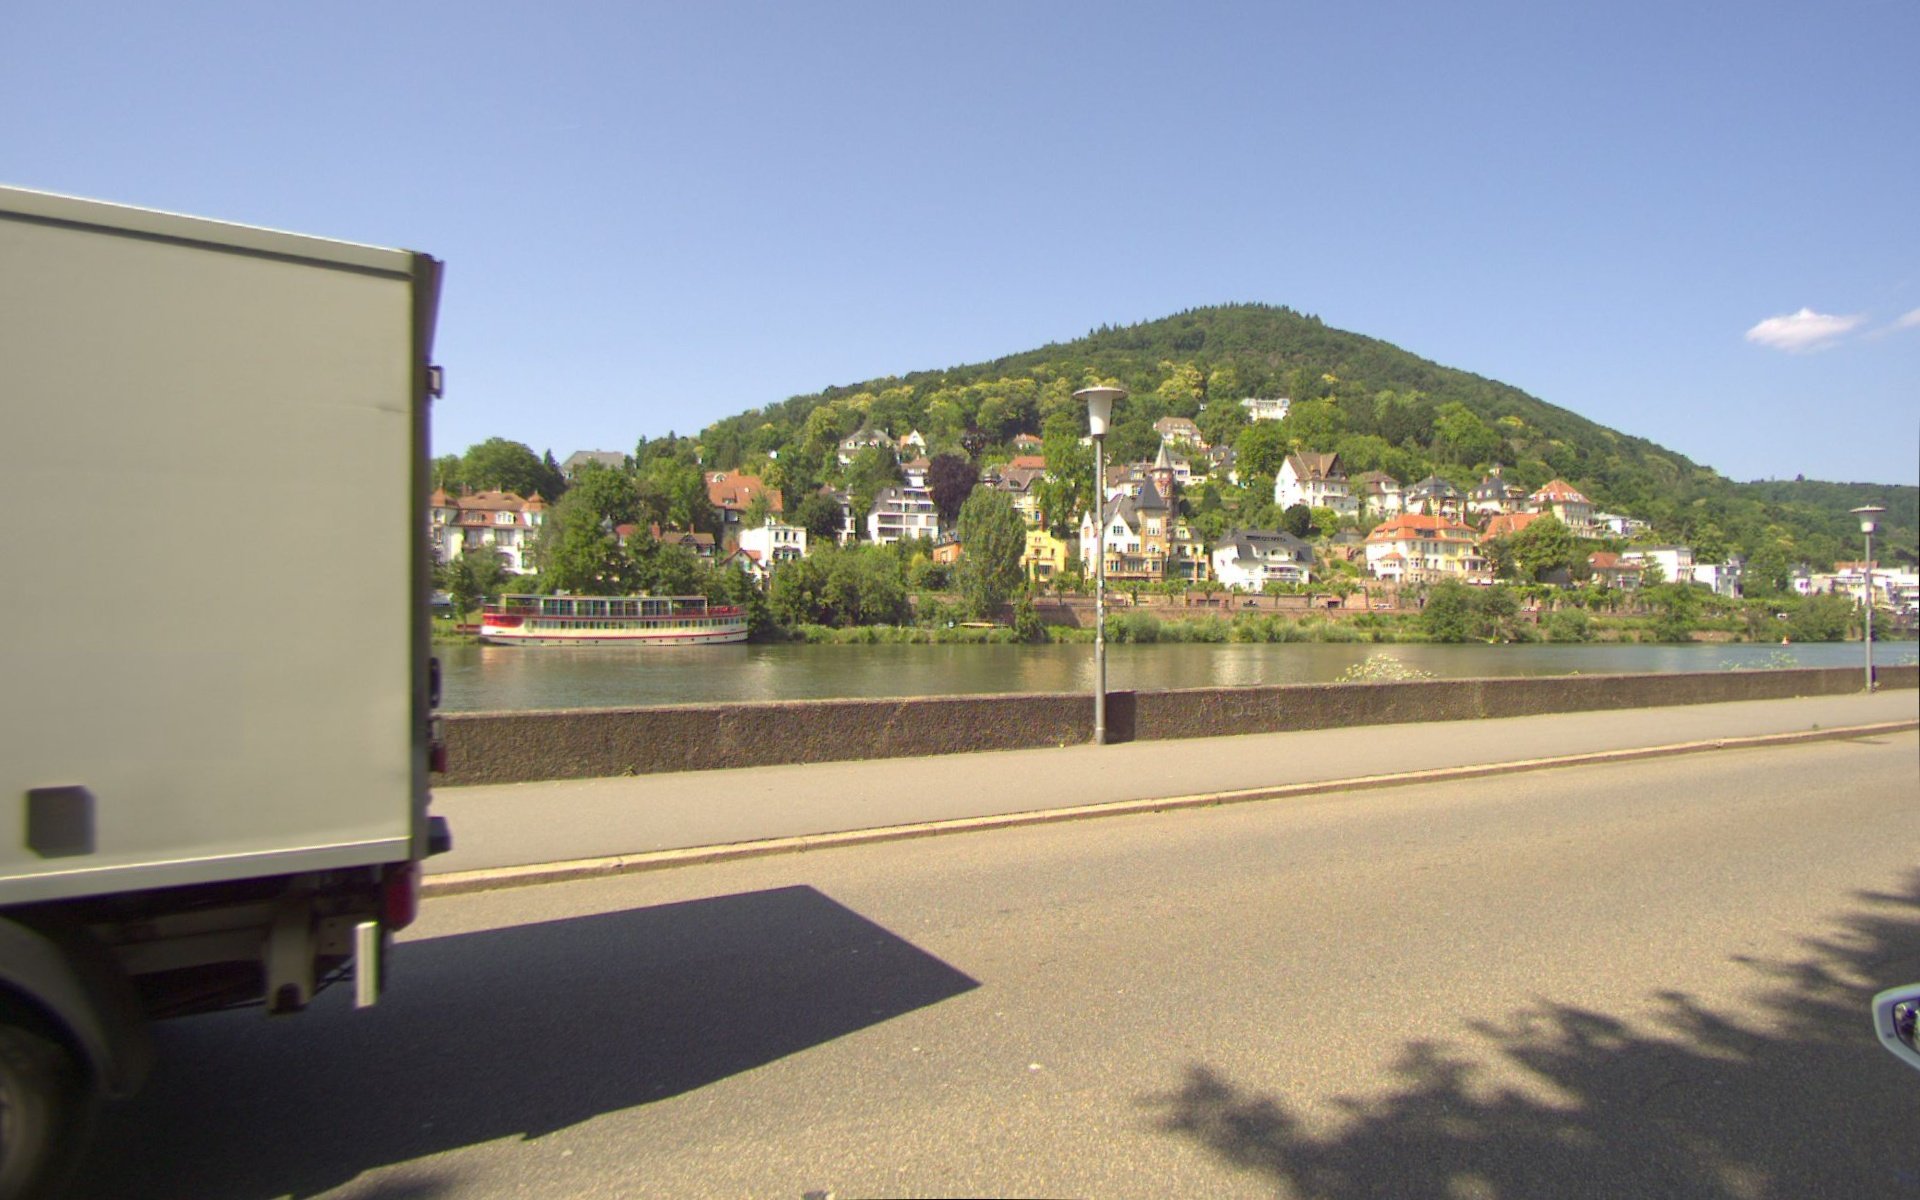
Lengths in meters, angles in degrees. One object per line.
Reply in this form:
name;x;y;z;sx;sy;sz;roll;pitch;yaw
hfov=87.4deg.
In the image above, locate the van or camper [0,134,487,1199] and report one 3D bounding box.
van or camper;-4.025;0.233;2.125;5.321;2.430;2.068;1;-2;-30
